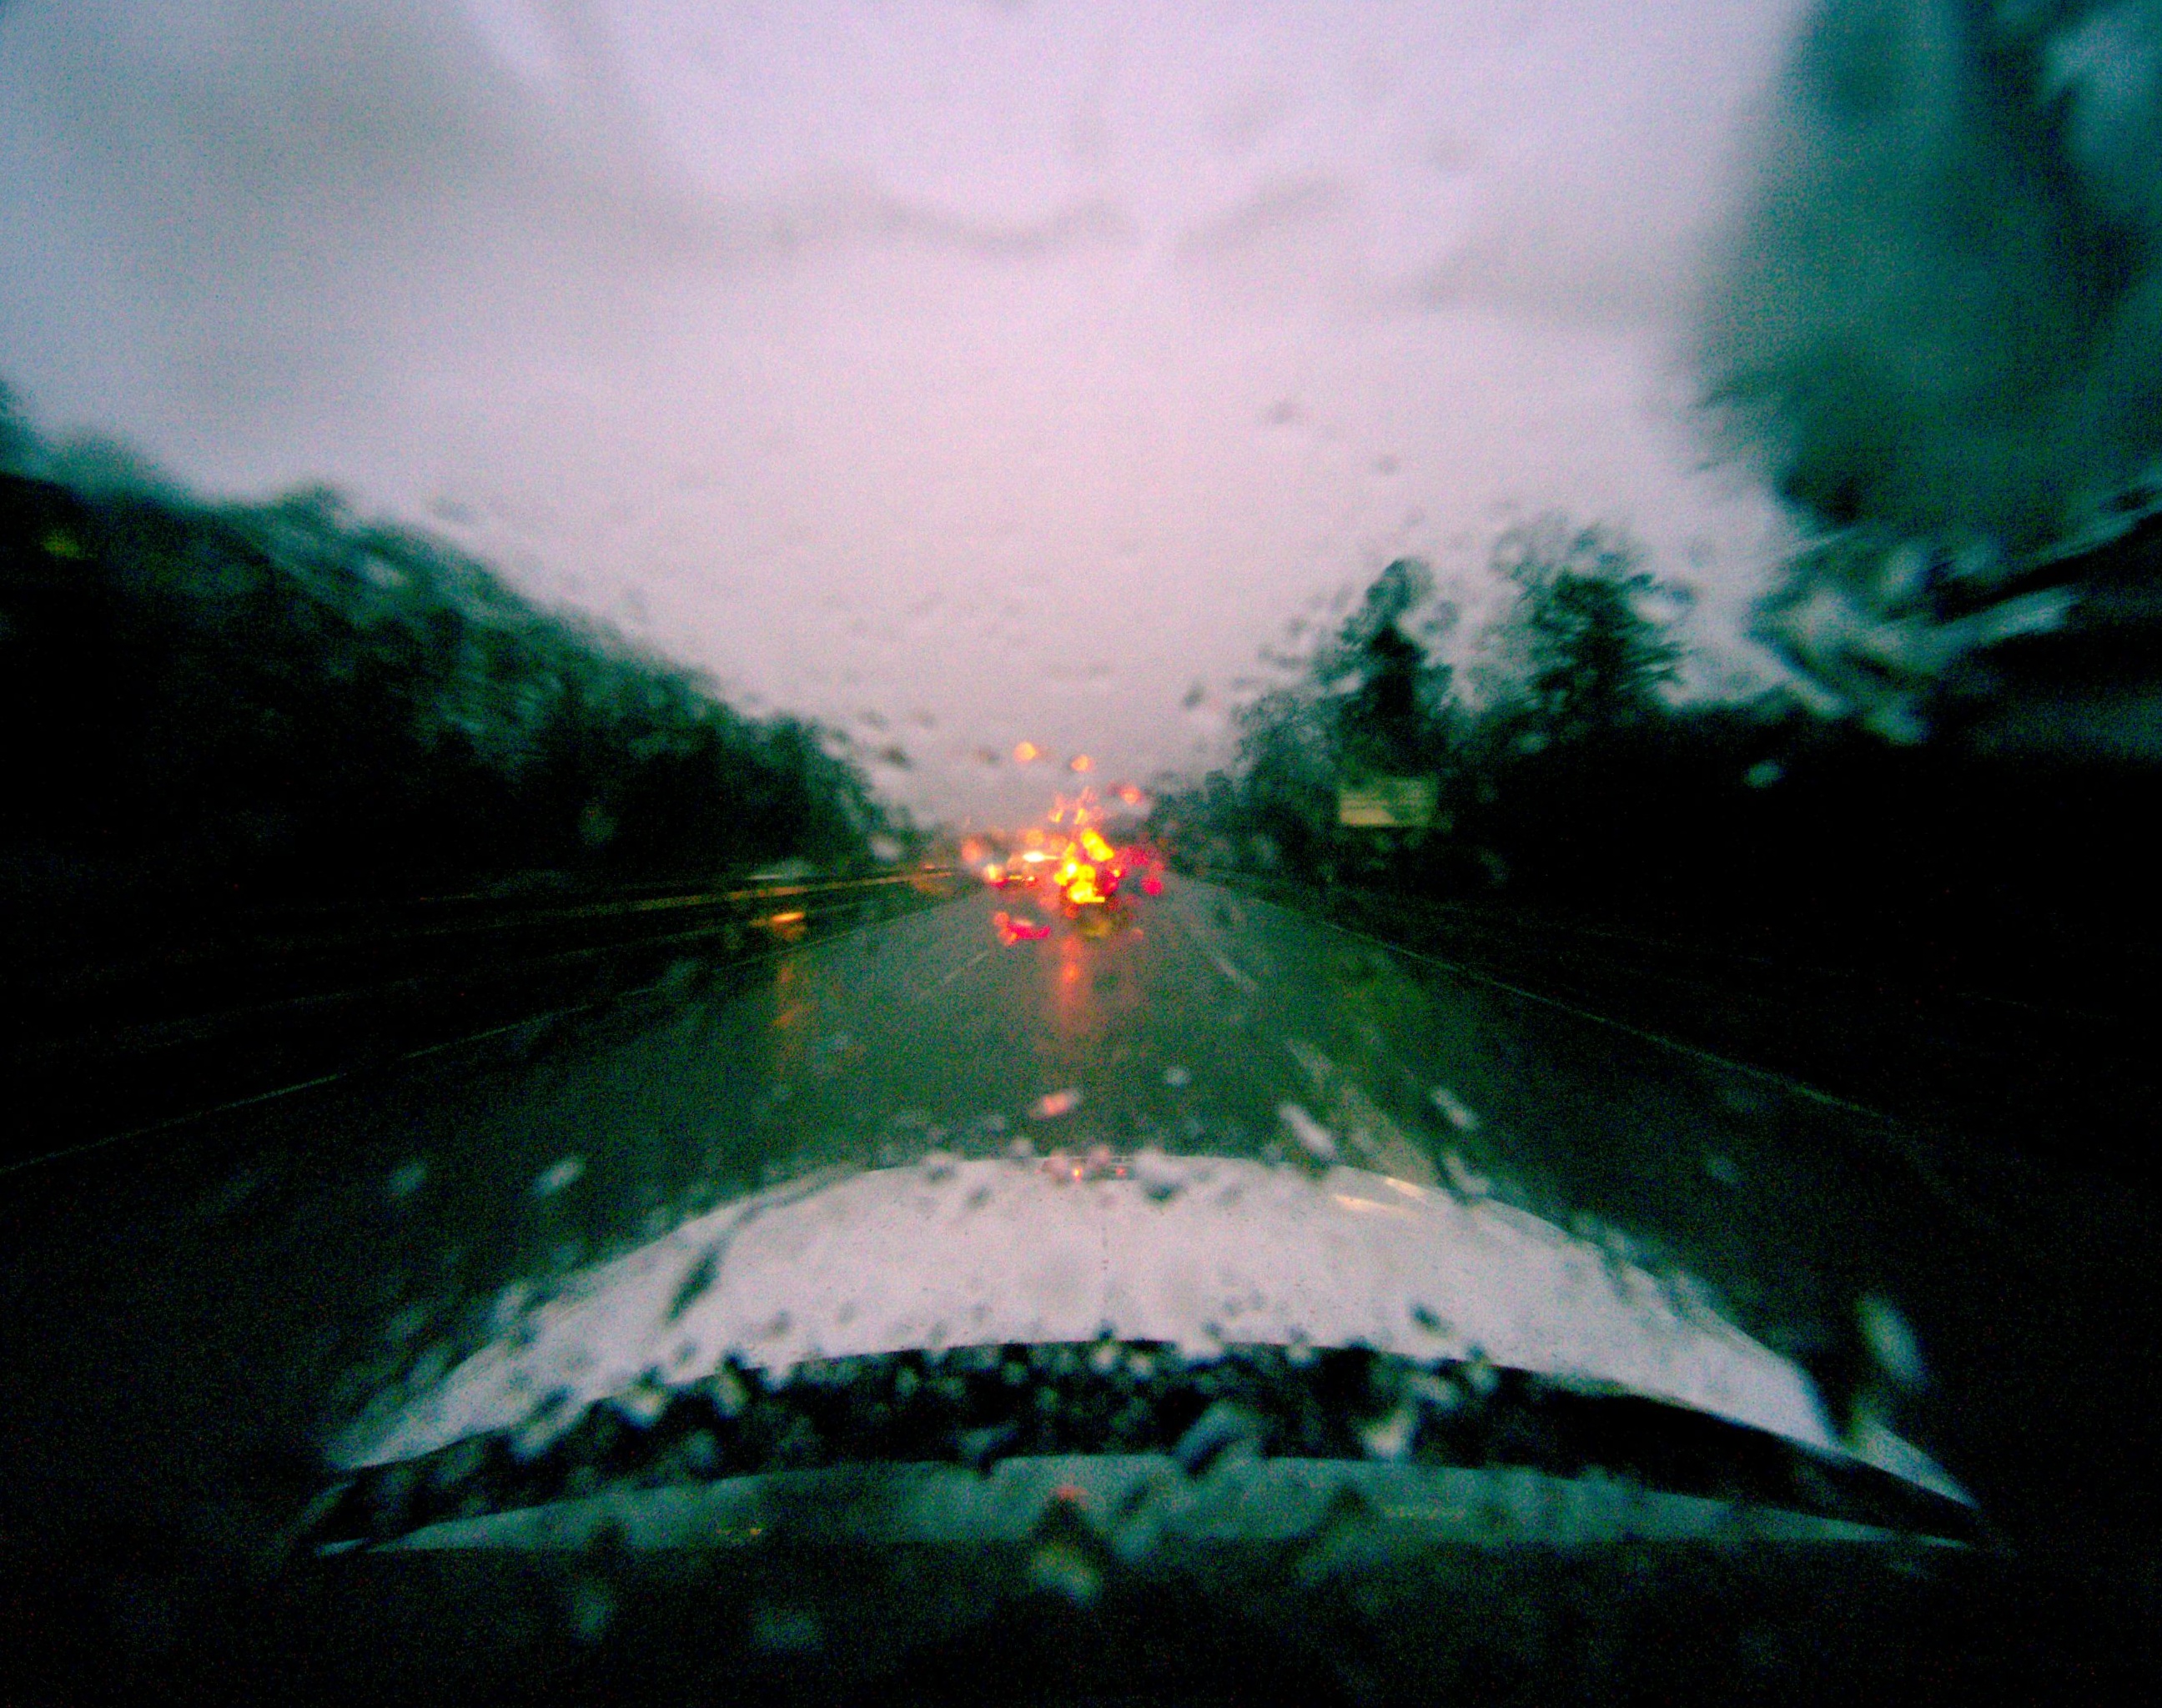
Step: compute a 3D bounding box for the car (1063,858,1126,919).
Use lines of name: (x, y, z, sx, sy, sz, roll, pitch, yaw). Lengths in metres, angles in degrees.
car: (0.416, 0.864, 21.766, 1.521, 1.415, 3.481, 2, 0, 3)

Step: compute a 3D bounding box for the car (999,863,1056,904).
car: (-2.182, 1.203, 34.478, 1.768, 1.534, 4.706, -2, -1, 3)

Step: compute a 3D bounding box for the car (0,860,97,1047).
car: (-10.195, 0.827, 4.812, 1.985, 1.526, 5.380, 2, 0, 4)

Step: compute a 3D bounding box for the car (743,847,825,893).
car: (-12.438, 0.629, 34.376, 1.744, 1.753, 3.944, 2, 0, 4)

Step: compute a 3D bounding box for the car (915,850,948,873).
car: (-11.926, 0.584, 65.310, 1.637, 1.785, 4.210, 2, 0, 3)

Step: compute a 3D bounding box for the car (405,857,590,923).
car: (-16.734, 0.956, 23.710, 1.985, 1.679, 4.476, -2, 0, 3)
